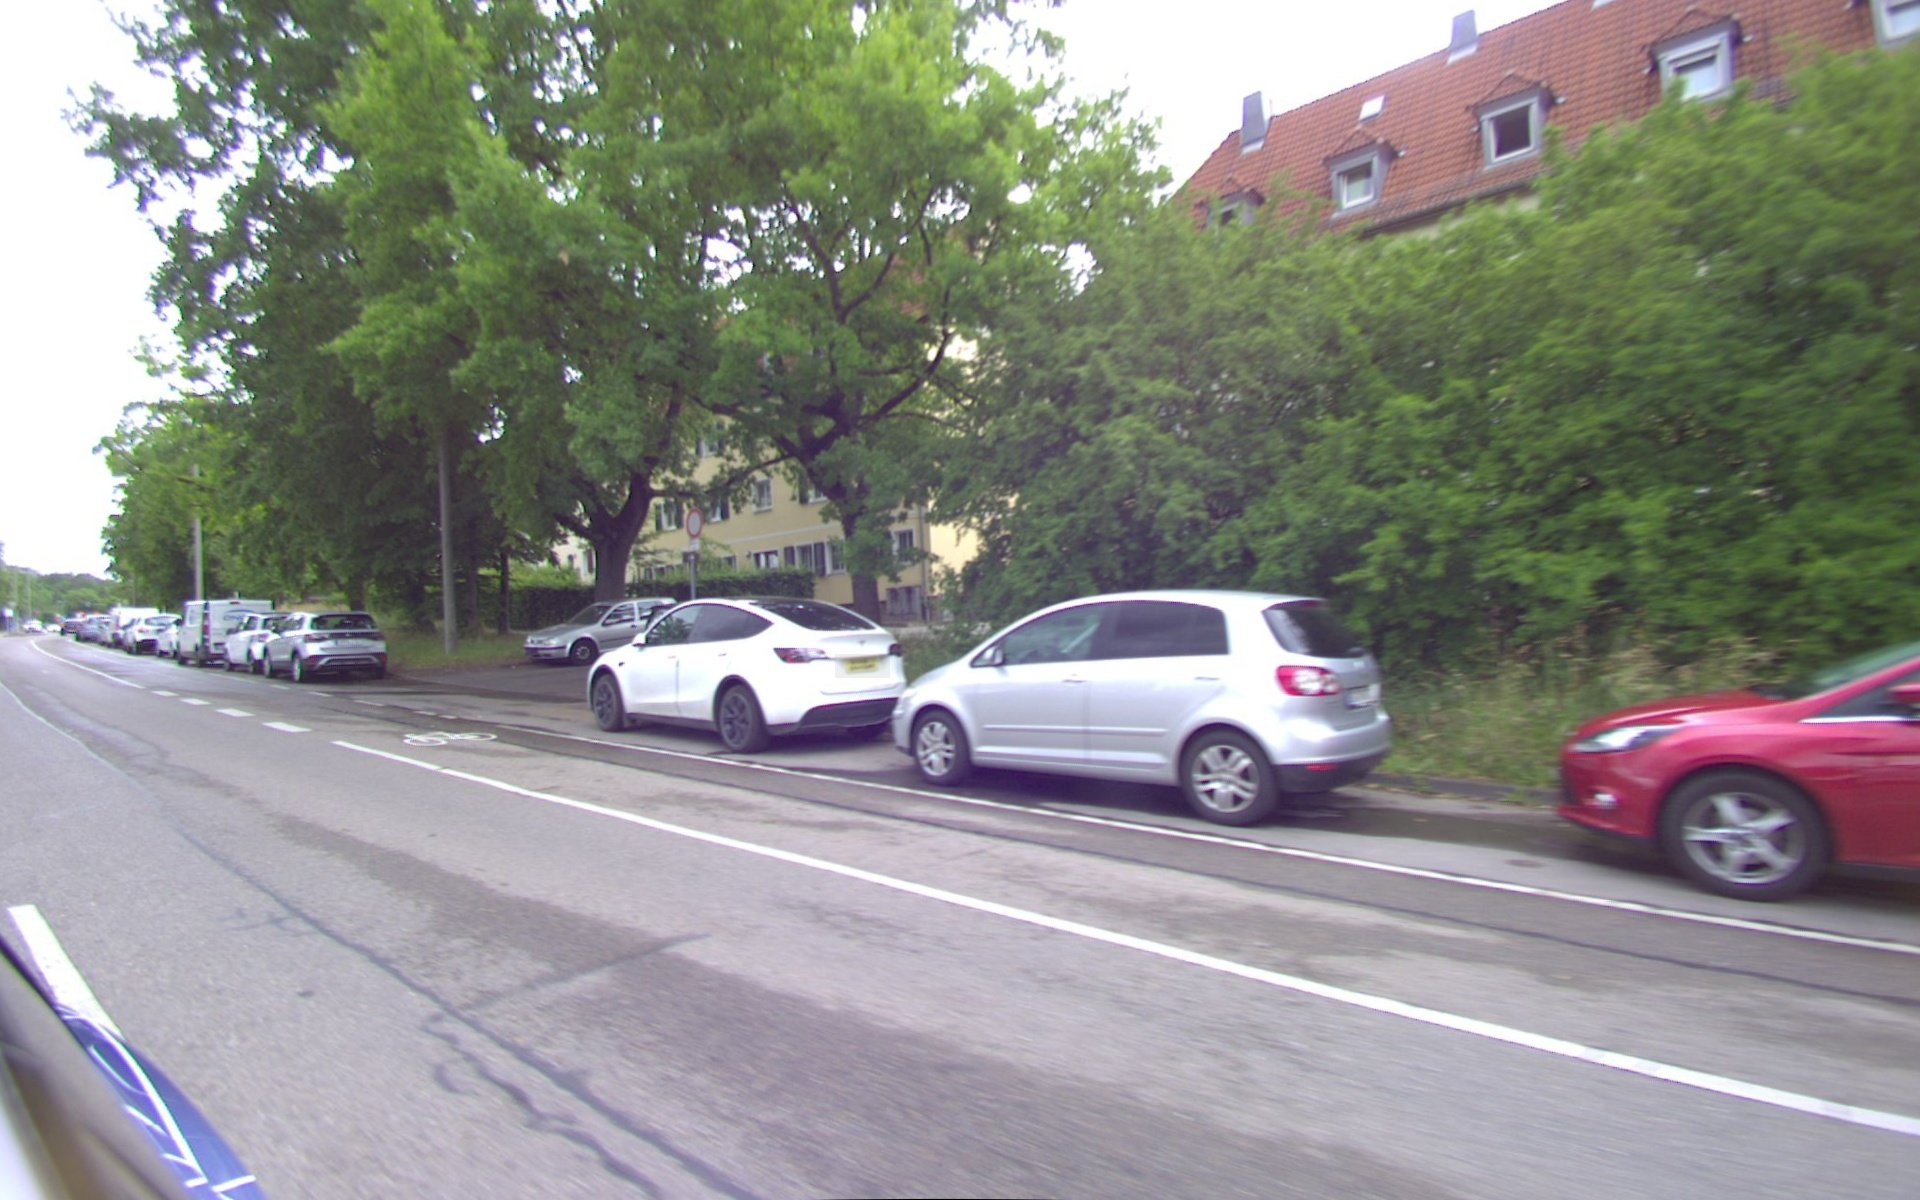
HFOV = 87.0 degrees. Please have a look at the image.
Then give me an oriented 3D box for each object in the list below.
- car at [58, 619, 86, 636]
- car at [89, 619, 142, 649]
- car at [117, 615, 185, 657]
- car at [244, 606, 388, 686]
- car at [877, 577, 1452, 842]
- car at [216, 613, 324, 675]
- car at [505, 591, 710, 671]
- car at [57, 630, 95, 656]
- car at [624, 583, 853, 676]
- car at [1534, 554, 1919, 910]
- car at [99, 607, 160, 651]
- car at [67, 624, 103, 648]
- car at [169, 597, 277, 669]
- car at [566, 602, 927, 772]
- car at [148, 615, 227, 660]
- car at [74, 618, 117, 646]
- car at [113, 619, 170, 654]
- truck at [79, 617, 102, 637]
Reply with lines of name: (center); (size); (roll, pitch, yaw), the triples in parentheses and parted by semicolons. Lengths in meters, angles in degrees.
car: (-81.145, 2.496, 92.512); (1.616, 1.478, 4.008); (0, -1, -38)
car: (-44.664, 1.806, 53.493); (3.949, 1.444, 1.617); (-2, 0, 42)
car: (-32.590, 1.429, 40.732); (4.283, 1.576, 1.654); (-1, -1, 45)
car: (-14.870, 1.006, 23.278); (4.157, 1.646, 1.747); (-2, -1, 42)
car: (1.464, 0.667, 8.090); (4.116, 1.585, 1.850); (-1, 0, 40)
car: (-18.248, 1.132, 26.721); (3.719, 1.493, 1.564); (-2, -1, 43)
car: (-8.622, 0.705, 25.053); (1.868, 1.461, 4.389); (-2, 4, 40)
car: (-59.726, 2.875, 68.442); (1.852, 1.582, 4.658); (-1, 0, -40)
car: (-4.653, 0.564, 21.713); (4.381, 1.465, 1.888); (-7, 4, -43)
car: (5.317, 0.563, 4.716); (4.367, 1.585, 1.698); (-1, 0, 40)
car: (-40.357, 1.422, 49.133); (1.748, 1.945, 5.157); (-2, 0, -45)
car: (-56.498, 2.329, 65.357); (1.746, 1.458, 4.155); (-1, -1, -41)
car: (-22.390, 0.974, 30.667); (5.129, 1.978, 1.845); (-2, -1, 45)
car: (-2.665, 0.848, 11.765); (4.761, 1.585, 1.747); (-1, -1, 44)
car: (-28.133, 1.336, 36.806); (4.091, 1.490, 1.644); (-1, 0, 43)
car: (-52.645, 1.955, 61.607); (1.747, 1.604, 4.138); (-1, -1, -44)
car: (-36.104, 1.580, 44.610); (1.653, 1.499, 4.049); (1, -2, -43)
truck: (-158.463, 4.875, 184.557); (2.788, 3.507, 7.838); (-1, -1, -38)
